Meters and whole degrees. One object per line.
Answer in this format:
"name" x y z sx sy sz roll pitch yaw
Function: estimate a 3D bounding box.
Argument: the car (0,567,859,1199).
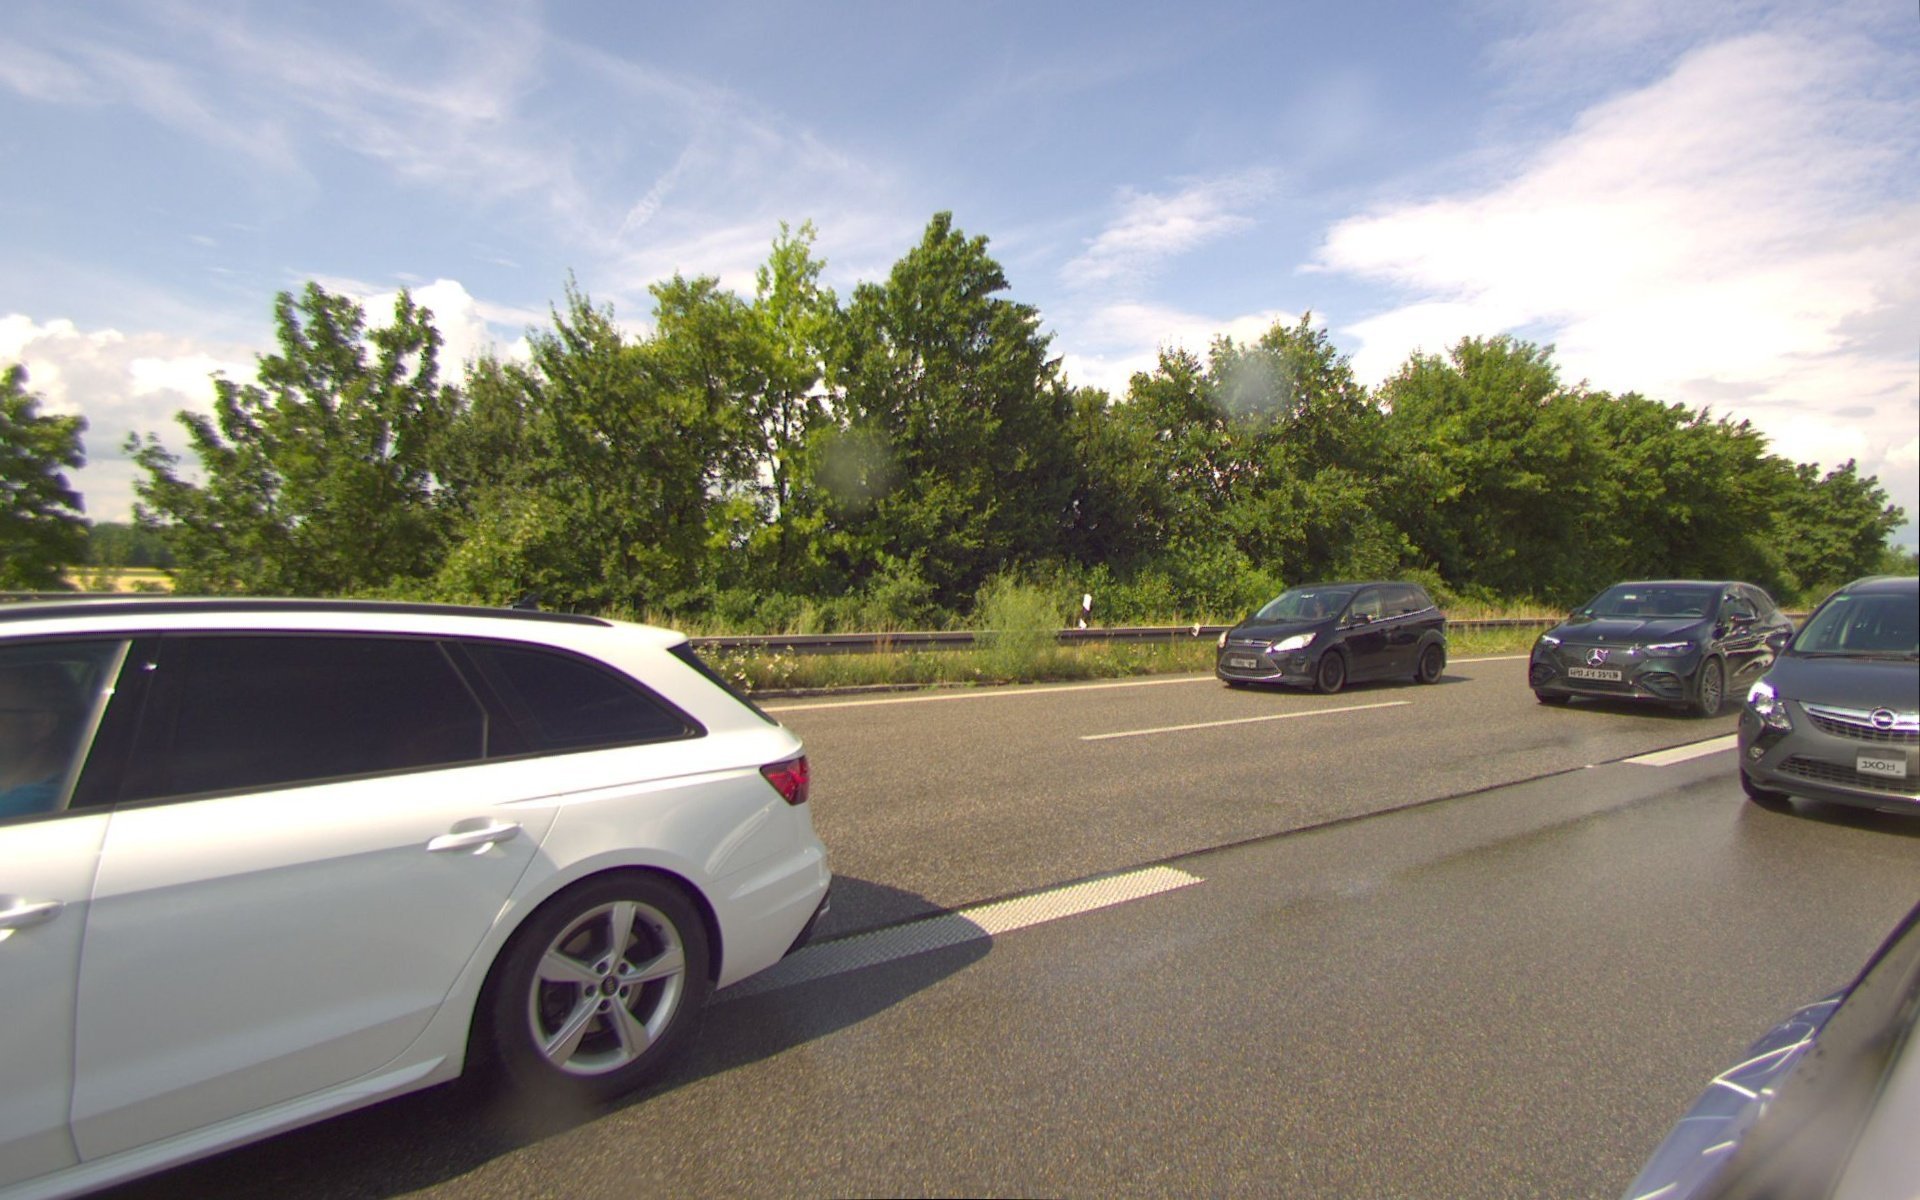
"car" -2.570 0.651 2.521 4.436 1.443 1.829 -1 3 -43

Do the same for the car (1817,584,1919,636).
"car" 29.634 0.288 32.957 4.207 1.606 1.753 -1 1 -37

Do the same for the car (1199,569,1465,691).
"car" 5.805 0.387 15.578 4.282 1.641 1.826 0 0 -37

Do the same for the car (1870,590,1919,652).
"car" 24.022 0.491 24.754 4.426 1.428 1.757 0 1 -36

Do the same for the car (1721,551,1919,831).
"car" 7.411 0.532 7.350 4.315 1.668 1.884 0 1 -37

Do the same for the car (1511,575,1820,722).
"car" 9.322 0.505 13.250 4.567 1.601 1.999 0 1 -37
